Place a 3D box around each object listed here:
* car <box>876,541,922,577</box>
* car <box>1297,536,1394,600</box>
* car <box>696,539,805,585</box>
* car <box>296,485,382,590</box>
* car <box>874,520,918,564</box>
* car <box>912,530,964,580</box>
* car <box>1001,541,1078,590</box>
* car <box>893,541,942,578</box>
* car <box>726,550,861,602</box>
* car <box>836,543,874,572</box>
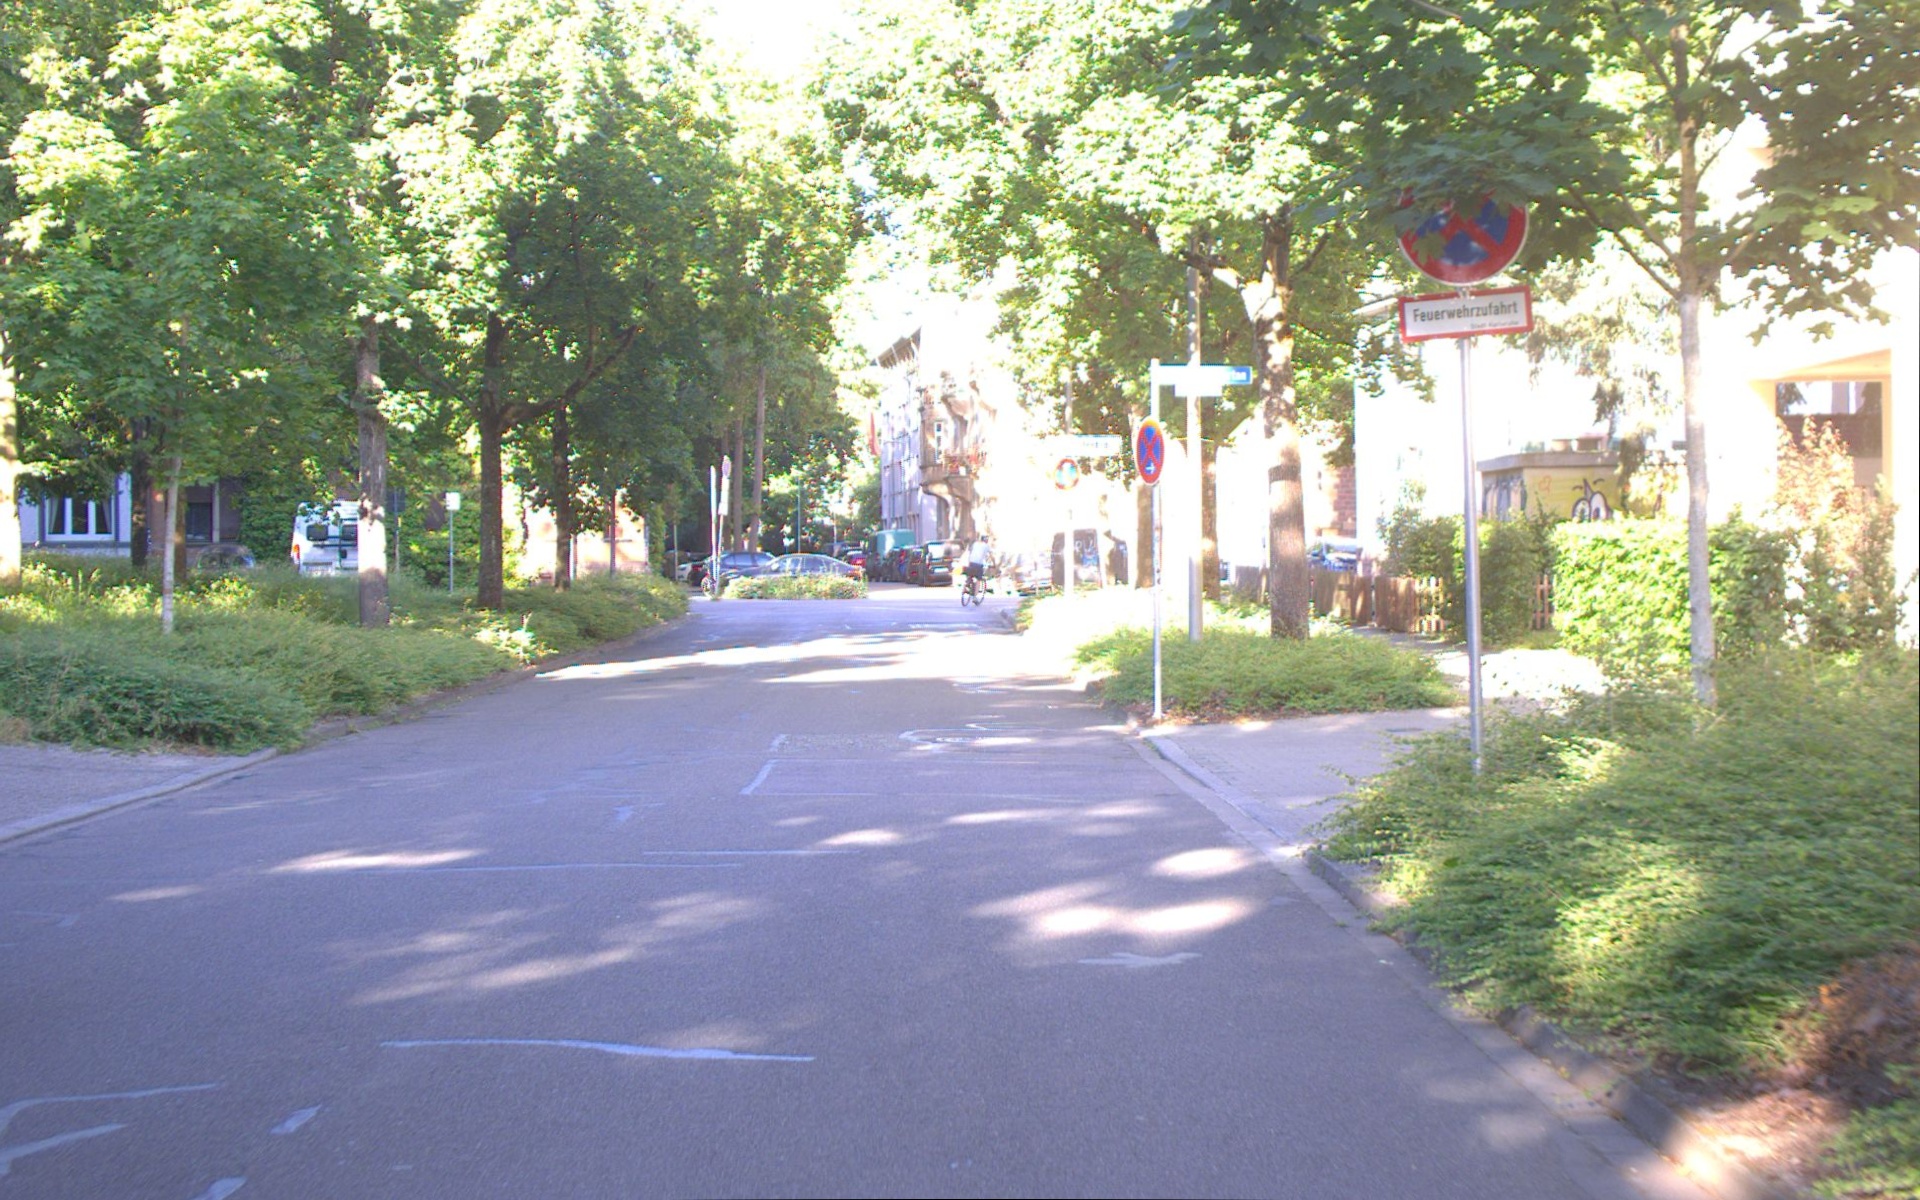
[{"bbox_3d":[-2.717,-1.819,151.624,1.811,1.496,4.001,1,1,-4],"label":"car"},{"bbox_3d":[9.864,-0.821,88.213,1.993,1.579,3.640,1,1,-1],"label":"car"},{"bbox_3d":[-7.216,-1.315,118.310,3.586,1.505,1.500,1,1,-8],"label":"car"},{"bbox_3d":[-15.256,-1.524,84.604,1.993,2.499,4.001,1,1,-9],"label":"car"},{"bbox_3d":[-3.028,-2.733,161.626,1.811,2.043,4.001,1,1,-4],"label":"car"},{"bbox_3d":[-0.887,-1.803,136.759,1.811,1.919,4.001,1,1,-4],"label":"car"},{"bbox_3d":[2.484,-1.105,108.108,1.811,1.496,4.001,-1,1,-8],"label":"car"},{"bbox_3d":[-1.793,-1.722,144.900,1.811,1.496,4.001,1,1,-4],"label":"car"},{"bbox_3d":[-5.161,-0.745,106.042,3.986,1.496,1.818,1,1,-8],"label":"car"},{"bbox_3d":[-5.469,-2.215,178.607,1.811,1.496,4.001,1,1,-4],"label":"car"}]
